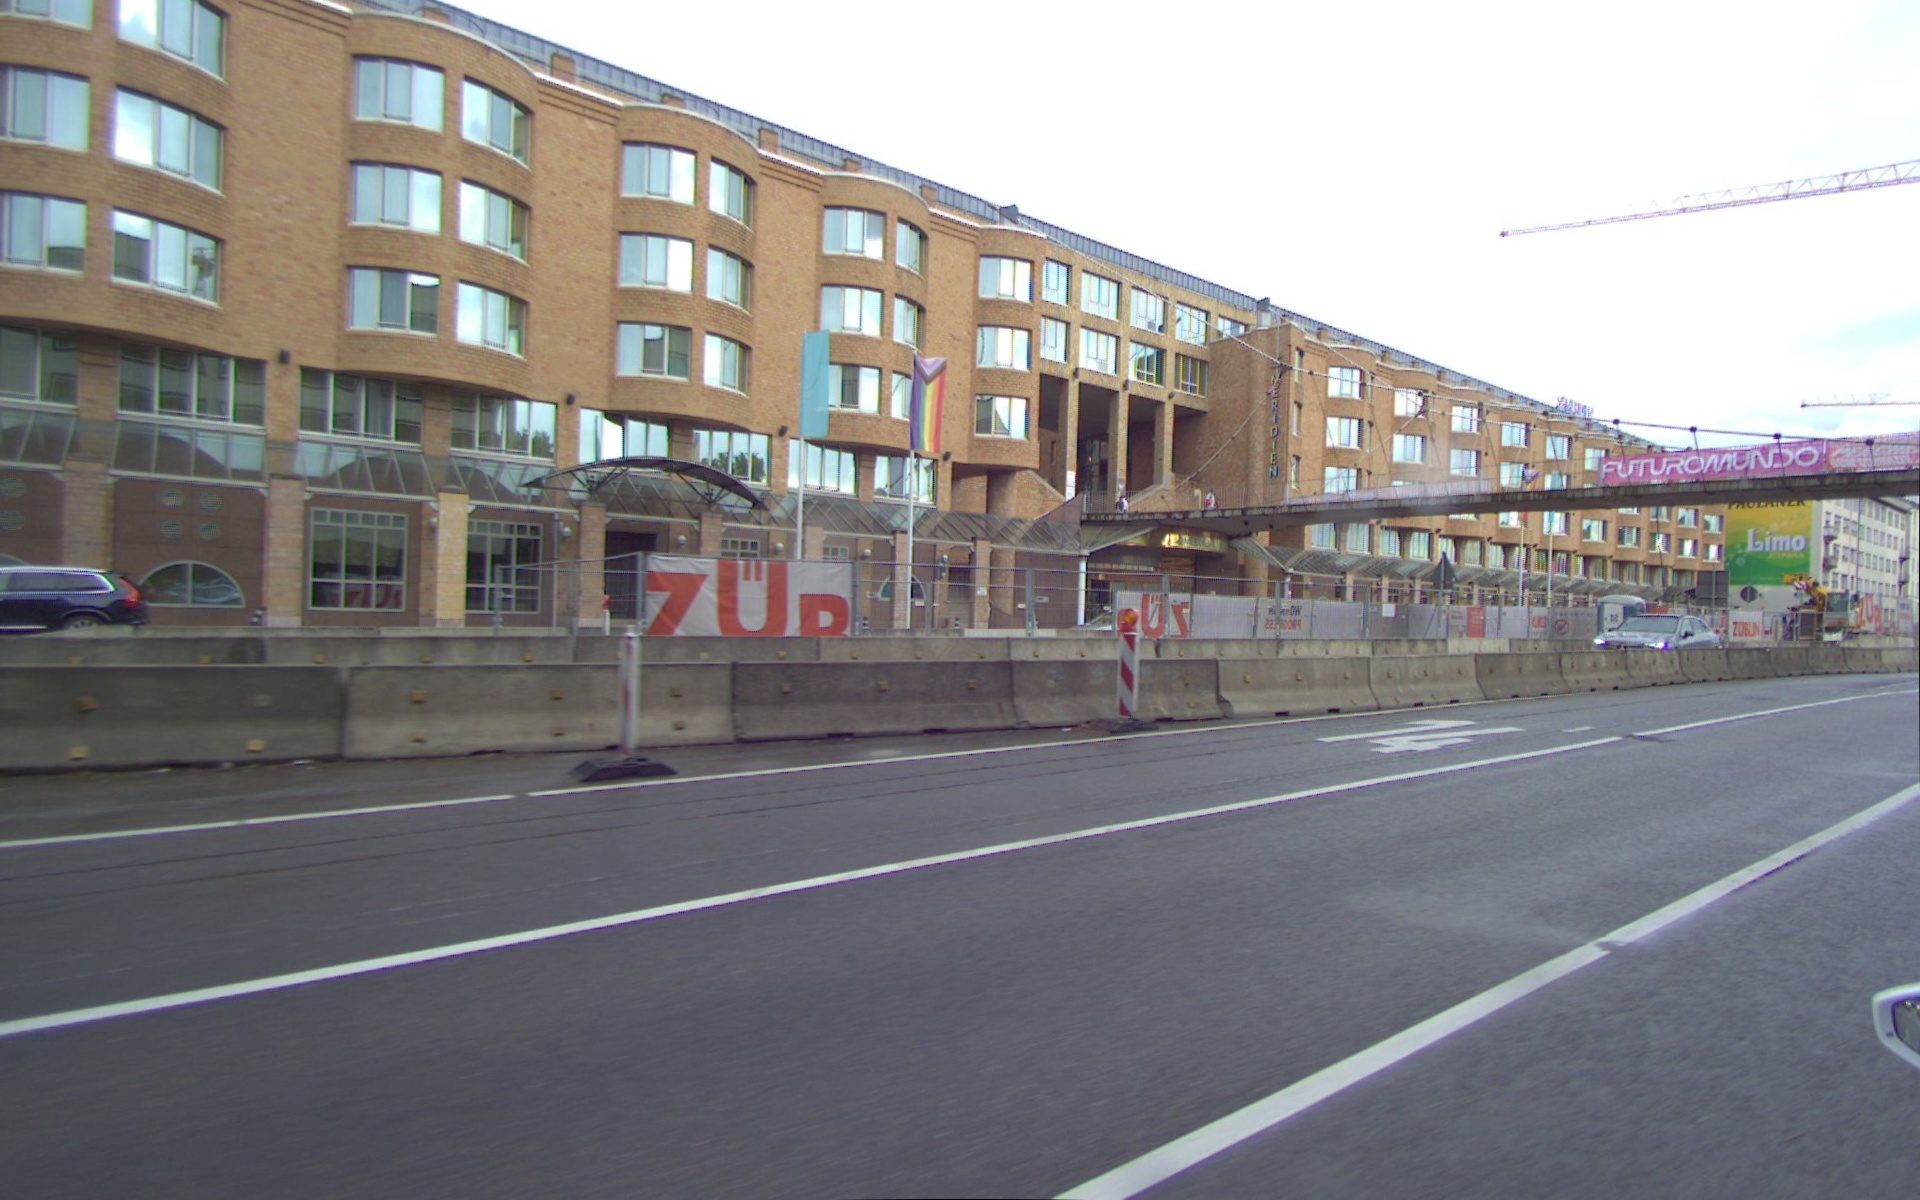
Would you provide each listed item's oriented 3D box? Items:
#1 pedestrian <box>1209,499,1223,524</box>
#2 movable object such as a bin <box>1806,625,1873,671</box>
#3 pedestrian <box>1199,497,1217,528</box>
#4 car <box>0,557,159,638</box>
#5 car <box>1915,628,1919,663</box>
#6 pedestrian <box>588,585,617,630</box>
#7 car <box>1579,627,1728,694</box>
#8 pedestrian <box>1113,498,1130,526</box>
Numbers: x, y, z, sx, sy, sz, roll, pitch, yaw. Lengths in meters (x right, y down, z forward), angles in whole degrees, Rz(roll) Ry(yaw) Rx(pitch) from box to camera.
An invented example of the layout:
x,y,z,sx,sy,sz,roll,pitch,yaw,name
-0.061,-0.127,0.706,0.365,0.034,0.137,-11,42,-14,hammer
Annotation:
x,y,z,sx,sy,sz,roll,pitch,yaw,name
12.986,-4.504,51.006,0.479,1.210,0.472,1,-1,-33,pedestrian
46.258,2.549,52.799,4.258,2.307,2.010,2,-4,-40,movable object such as a bin
12.481,-4.417,50.519,0.612,1.471,0.617,1,-1,-33,pedestrian
-20.851,-0.082,22.036,5.003,1.713,1.979,2,0,-37,car
47.909,2.209,48.577,3.863,1.645,1.794,0,1,-35,car
-11.763,0.249,33.038,0.729,1.471,0.612,1,-1,-34,pedestrian
19.271,1.613,27.868,4.657,1.645,1.980,1,0,-36,car
8.751,-4.772,54.479,0.612,1.471,0.617,1,-1,-33,pedestrian
